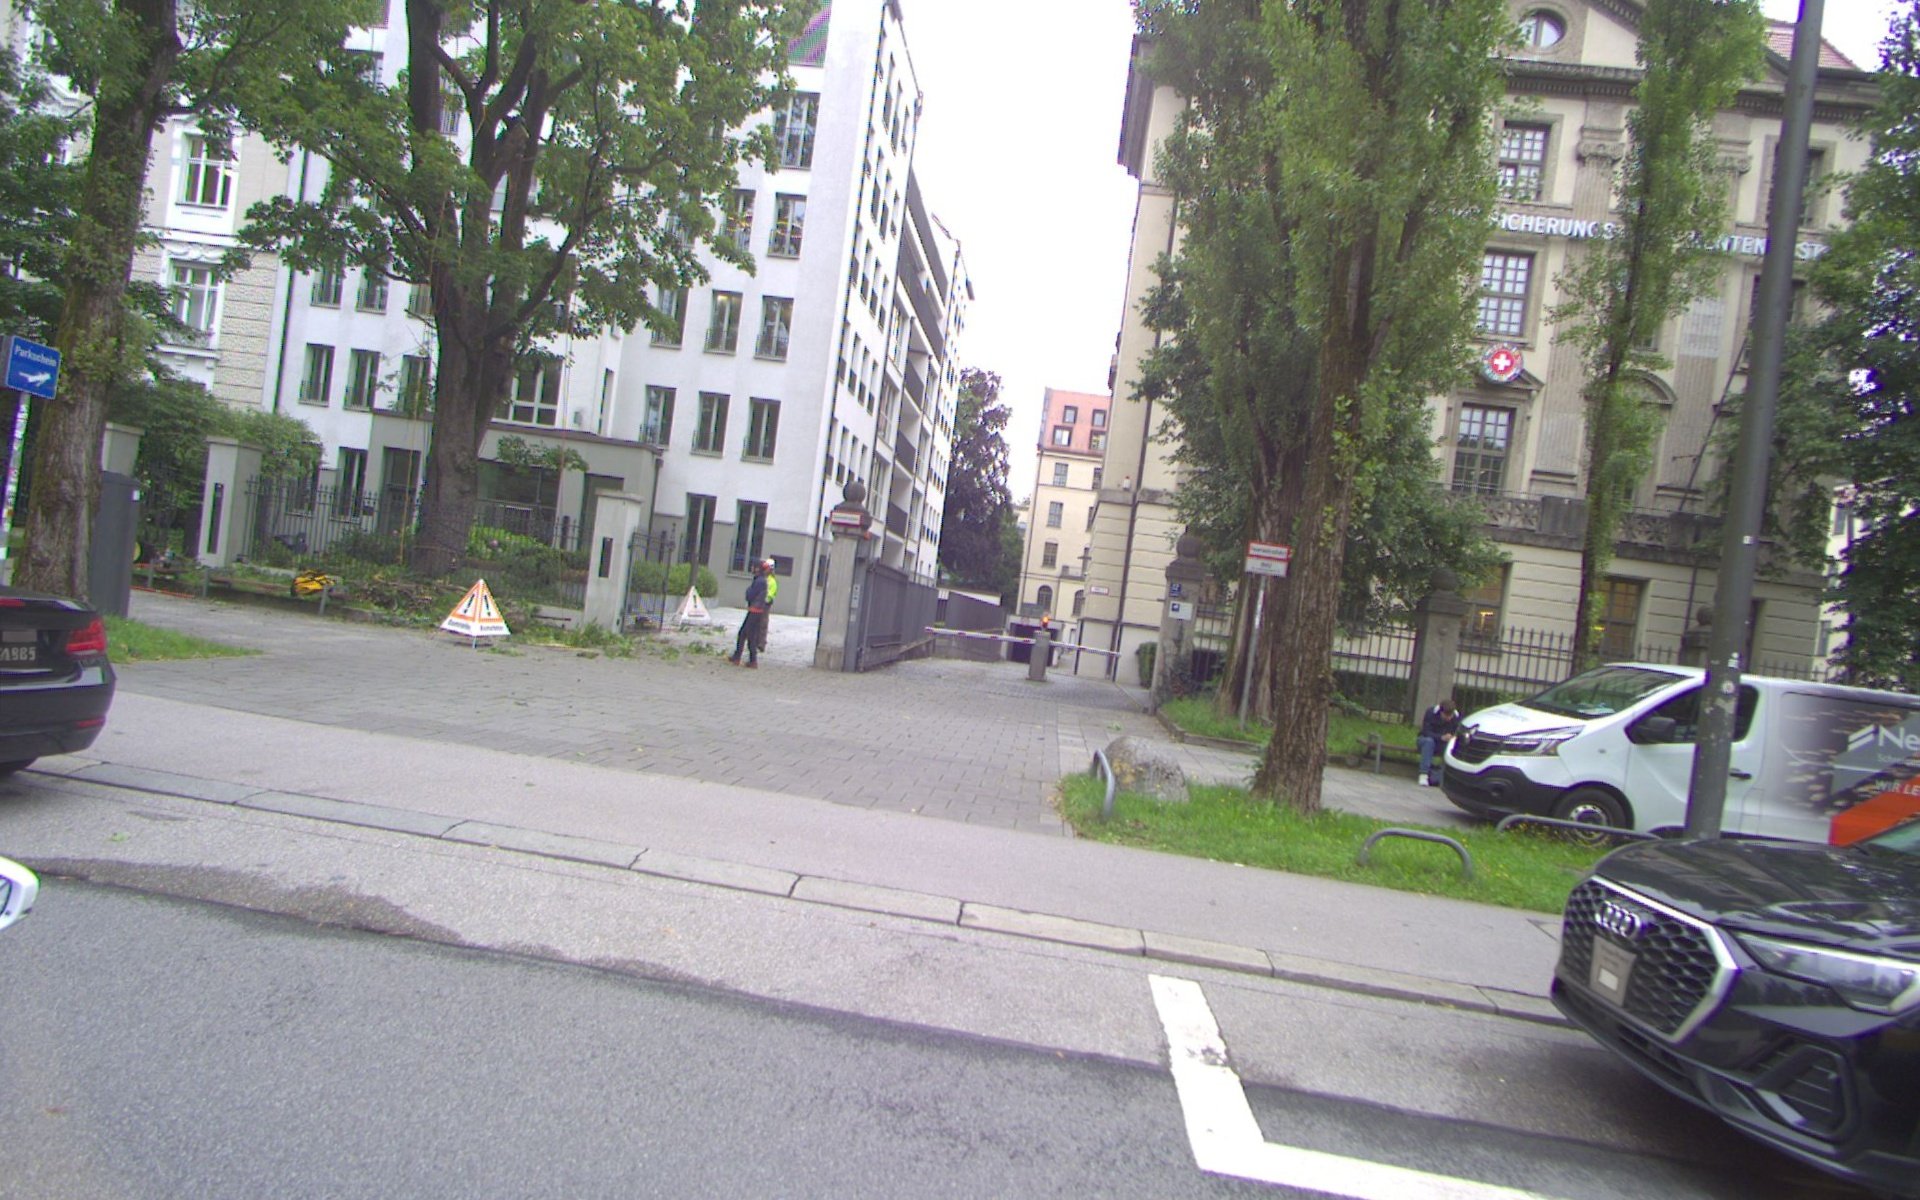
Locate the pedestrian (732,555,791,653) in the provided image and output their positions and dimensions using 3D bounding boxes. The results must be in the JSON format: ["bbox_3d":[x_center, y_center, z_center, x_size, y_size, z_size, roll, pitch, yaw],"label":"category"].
[{"bbox_3d":[-4.073,0.079,20.694,0.820,1.877,0.773,7,1,0],"label":"pedestrian"}]

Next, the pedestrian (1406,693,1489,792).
[{"bbox_3d":[6.500,1.889,13.454,0.712,1.156,0.703,7,1,11],"label":"pedestrian"}]

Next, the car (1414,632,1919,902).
[{"bbox_3d":[7.768,1.647,10.202,5.224,1.948,2.001,8,0,4],"label":"car"}]

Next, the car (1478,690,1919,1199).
[{"bbox_3d":[4.441,1.409,3.466,4.242,1.513,1.732,8,0,6],"label":"car"}]

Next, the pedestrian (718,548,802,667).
[{"bbox_3d":[-3.416,0.141,17.226,0.761,1.889,0.937,8,1,34],"label":"pedestrian"}]

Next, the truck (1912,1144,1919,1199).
[{"bbox_3d":[5.655,0.745,0.727,7.194,2.933,2.336,8,0,5],"label":"truck"}]

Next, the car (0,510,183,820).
[{"bbox_3d":[-6.191,0.048,4.628,3.924,1.370,1.753,8,-1,6],"label":"car"}]
